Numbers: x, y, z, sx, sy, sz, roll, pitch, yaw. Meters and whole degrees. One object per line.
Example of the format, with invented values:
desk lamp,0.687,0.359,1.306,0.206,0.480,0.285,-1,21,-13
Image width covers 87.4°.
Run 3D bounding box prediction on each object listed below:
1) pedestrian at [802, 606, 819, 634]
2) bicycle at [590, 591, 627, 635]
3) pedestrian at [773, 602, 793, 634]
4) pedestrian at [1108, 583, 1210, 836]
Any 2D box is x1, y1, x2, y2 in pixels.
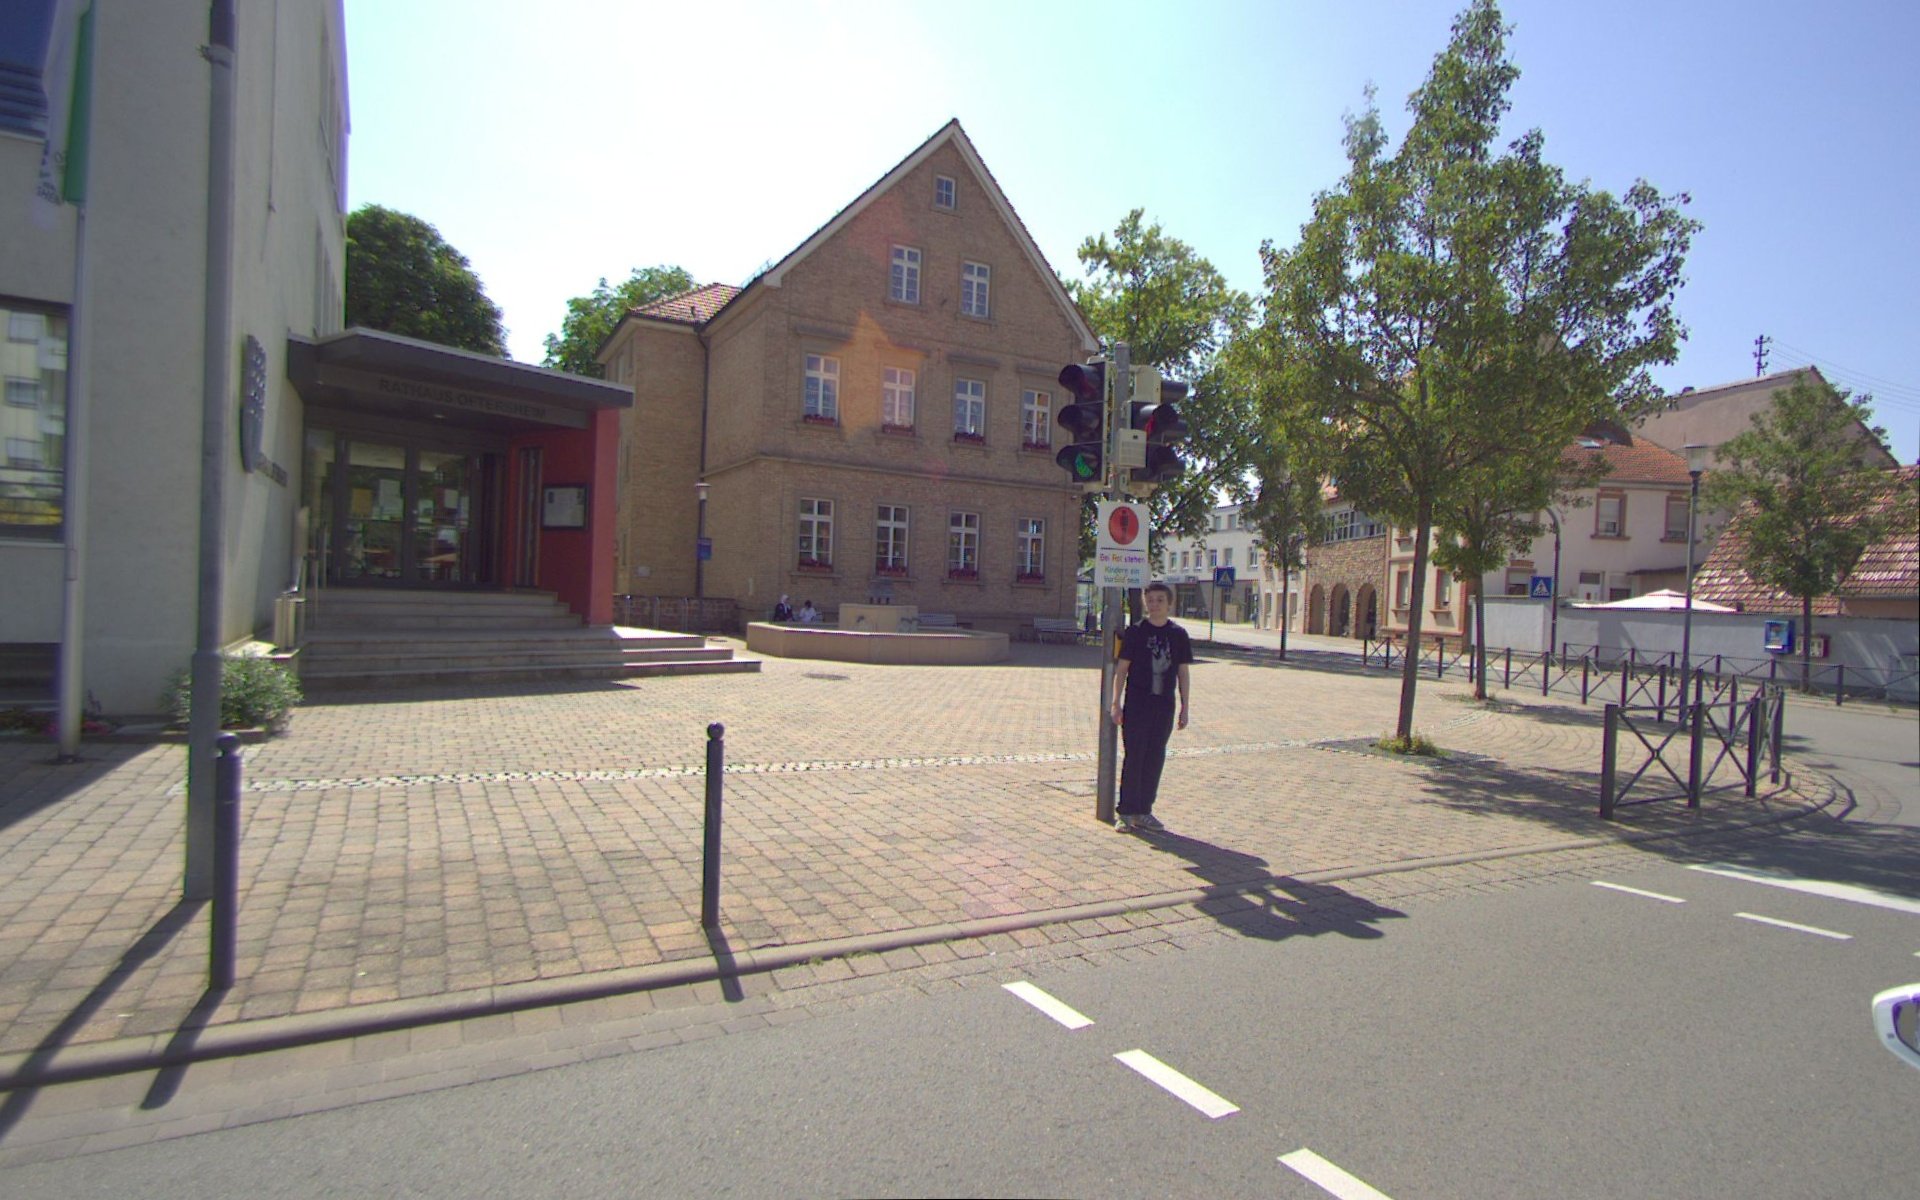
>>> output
pedestrian,-4.073,0.535,27.327,0.353,0.742,0.287,2,0,45
bicycle,-9.412,0.325,26.874,0.574,1.019,1.938,2,2,-30
pedestrian,-4.745,0.491,26.858,0.357,0.828,0.365,2,0,45
pedestrian,1.359,0.726,6.935,0.546,1.640,0.550,3,0,6
